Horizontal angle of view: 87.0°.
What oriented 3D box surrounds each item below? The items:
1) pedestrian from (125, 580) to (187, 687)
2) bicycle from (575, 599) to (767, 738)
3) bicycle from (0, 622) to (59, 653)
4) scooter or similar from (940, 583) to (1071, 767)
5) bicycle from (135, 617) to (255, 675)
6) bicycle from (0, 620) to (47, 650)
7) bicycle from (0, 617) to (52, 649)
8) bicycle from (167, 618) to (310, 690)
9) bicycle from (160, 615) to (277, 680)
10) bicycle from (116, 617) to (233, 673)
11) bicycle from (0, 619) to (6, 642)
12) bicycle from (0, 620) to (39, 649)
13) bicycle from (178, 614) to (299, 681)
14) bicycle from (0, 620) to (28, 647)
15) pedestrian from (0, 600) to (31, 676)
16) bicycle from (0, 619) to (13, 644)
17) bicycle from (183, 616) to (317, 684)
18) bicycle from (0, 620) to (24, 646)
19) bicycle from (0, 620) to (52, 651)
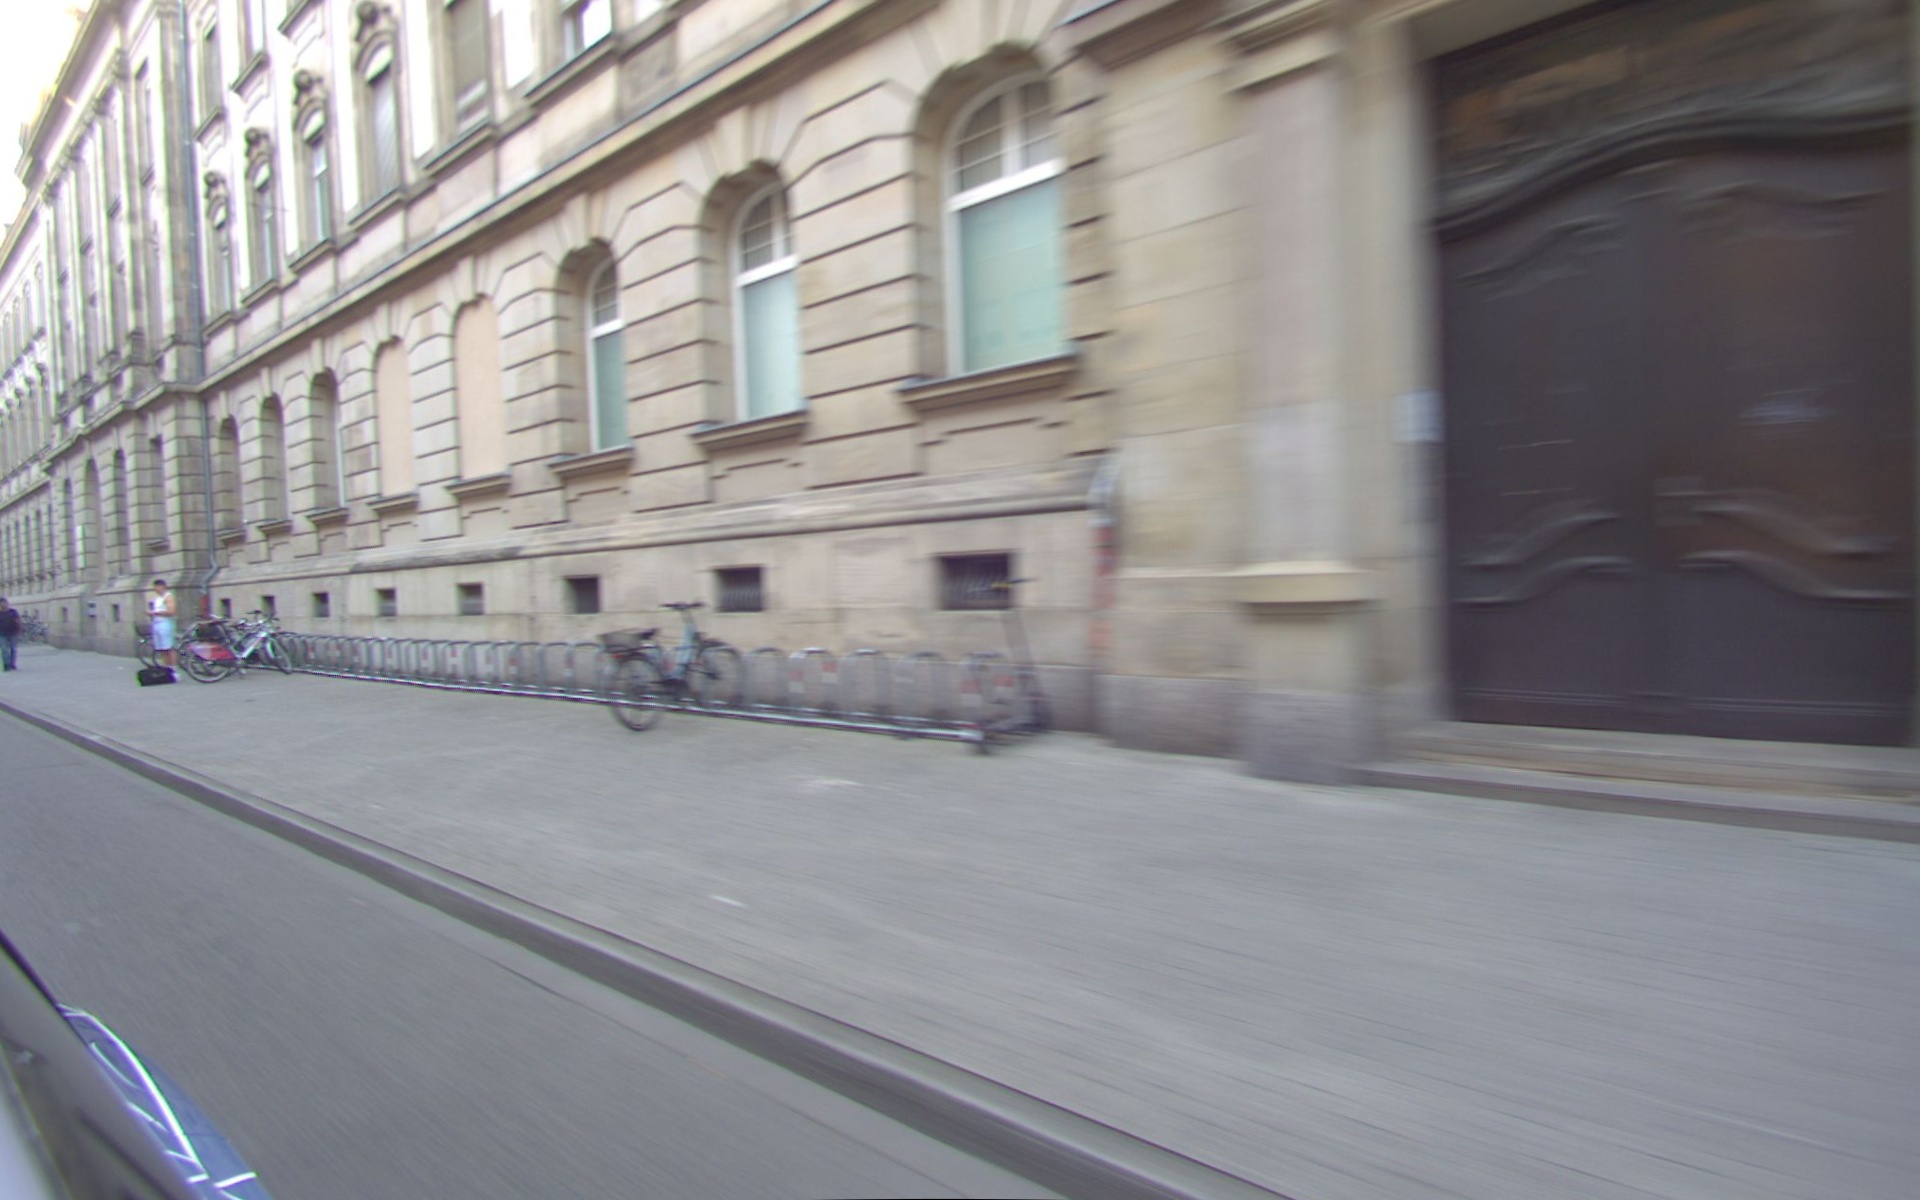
[{"bbox_3d":[-14.575,0.593,18.351,0.753,1.865,0.583,-2,2,35],"label":"pedestrian"},{"bbox_3d":[-2.735,0.605,9.832,0.616,1.069,1.927,-2,4,26],"label":"bicycle"},{"bbox_3d":[-35.704,1.416,38.539,0.720,1.053,1.918,-2,2,36],"label":"bicycle"},{"bbox_3d":[0.370,0.522,7.637,0.495,1.241,1.126,-2,2,29],"label":"scooter or similar"},{"bbox_3d":[-16.397,0.962,21.747,0.618,1.069,1.921,-1,3,35],"label":"bicycle"},{"bbox_3d":[-37.940,1.410,40.473,0.728,1.086,1.922,-1,3,34],"label":"bicycle"},{"bbox_3d":[-36.451,1.272,39.083,0.747,1.086,1.918,-1,3,40],"label":"bicycle"},{"bbox_3d":[-12.732,0.926,17.919,0.619,1.069,1.919,0,3,39],"label":"bicycle"},{"bbox_3d":[-14.785,0.925,20.220,0.499,1.116,1.779,-1,3,35],"label":"bicycle"},{"bbox_3d":[-17.413,0.973,22.478,0.619,1.069,1.918,-1,3,40],"label":"bicycle"},{"bbox_3d":[-47.762,1.563,49.086,0.725,1.086,2.011,-2,3,21],"label":"bicycle"},{"bbox_3d":[-38.984,1.438,41.274,0.728,1.086,1.922,-1,3,34],"label":"bicycle"},{"bbox_3d":[-13.850,0.881,19.469,0.499,1.116,1.779,-1,3,35],"label":"bicycle"},{"bbox_3d":[-41.664,1.473,43.714,0.728,1.086,1.922,-1,3,34],"label":"bicycle"},{"bbox_3d":[-23.082,0.908,24.419,0.969,1.763,0.801,-1,3,41],"label":"pedestrian"},{"bbox_3d":[-45.204,1.517,46.803,0.728,1.086,1.921,-1,3,34],"label":"bicycle"},{"bbox_3d":[-13.240,0.900,18.928,0.618,1.069,1.921,-1,3,35],"label":"bicycle"},{"bbox_3d":[-42.569,1.485,44.483,0.728,1.086,1.922,-1,3,34],"label":"bicycle"},{"bbox_3d":[-37.315,1.399,40.018,0.728,1.086,1.922,-1,3,34],"label":"bicycle"}]
